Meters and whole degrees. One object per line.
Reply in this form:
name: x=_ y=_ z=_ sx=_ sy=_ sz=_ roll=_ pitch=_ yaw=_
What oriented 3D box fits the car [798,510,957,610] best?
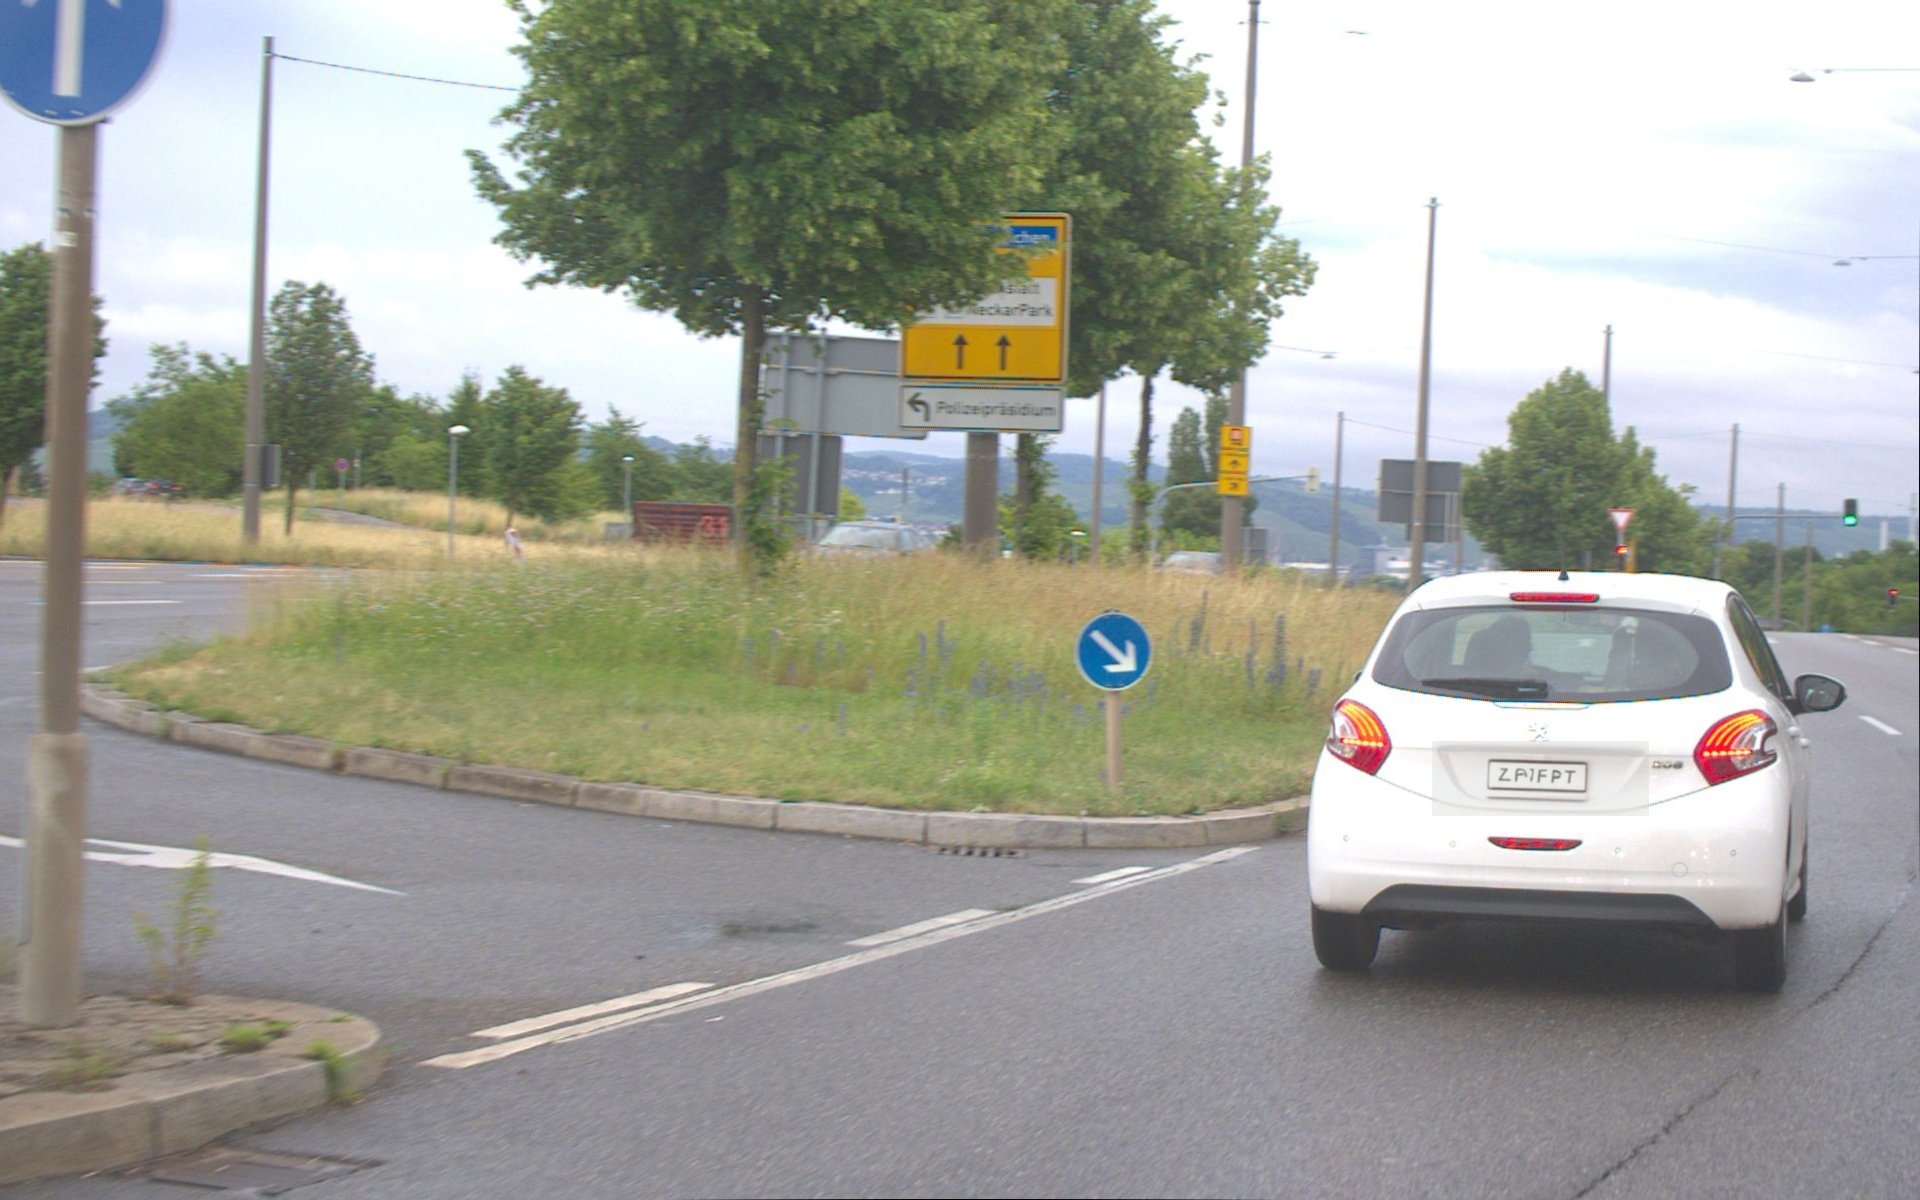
car: x=-1.413 y=-0.724 z=60.844 sx=1.879 sy=1.648 sz=4.355 roll=2 pitch=1 yaw=11

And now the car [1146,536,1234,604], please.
car: x=6.289 y=-0.844 z=93.608 sx=1.768 sy=1.744 sz=3.998 roll=3 pitch=1 yaw=12

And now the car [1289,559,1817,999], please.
car: x=2.431 y=0.578 z=13.399 sx=1.710 sy=1.435 sz=3.688 roll=1 pitch=1 yaw=15
